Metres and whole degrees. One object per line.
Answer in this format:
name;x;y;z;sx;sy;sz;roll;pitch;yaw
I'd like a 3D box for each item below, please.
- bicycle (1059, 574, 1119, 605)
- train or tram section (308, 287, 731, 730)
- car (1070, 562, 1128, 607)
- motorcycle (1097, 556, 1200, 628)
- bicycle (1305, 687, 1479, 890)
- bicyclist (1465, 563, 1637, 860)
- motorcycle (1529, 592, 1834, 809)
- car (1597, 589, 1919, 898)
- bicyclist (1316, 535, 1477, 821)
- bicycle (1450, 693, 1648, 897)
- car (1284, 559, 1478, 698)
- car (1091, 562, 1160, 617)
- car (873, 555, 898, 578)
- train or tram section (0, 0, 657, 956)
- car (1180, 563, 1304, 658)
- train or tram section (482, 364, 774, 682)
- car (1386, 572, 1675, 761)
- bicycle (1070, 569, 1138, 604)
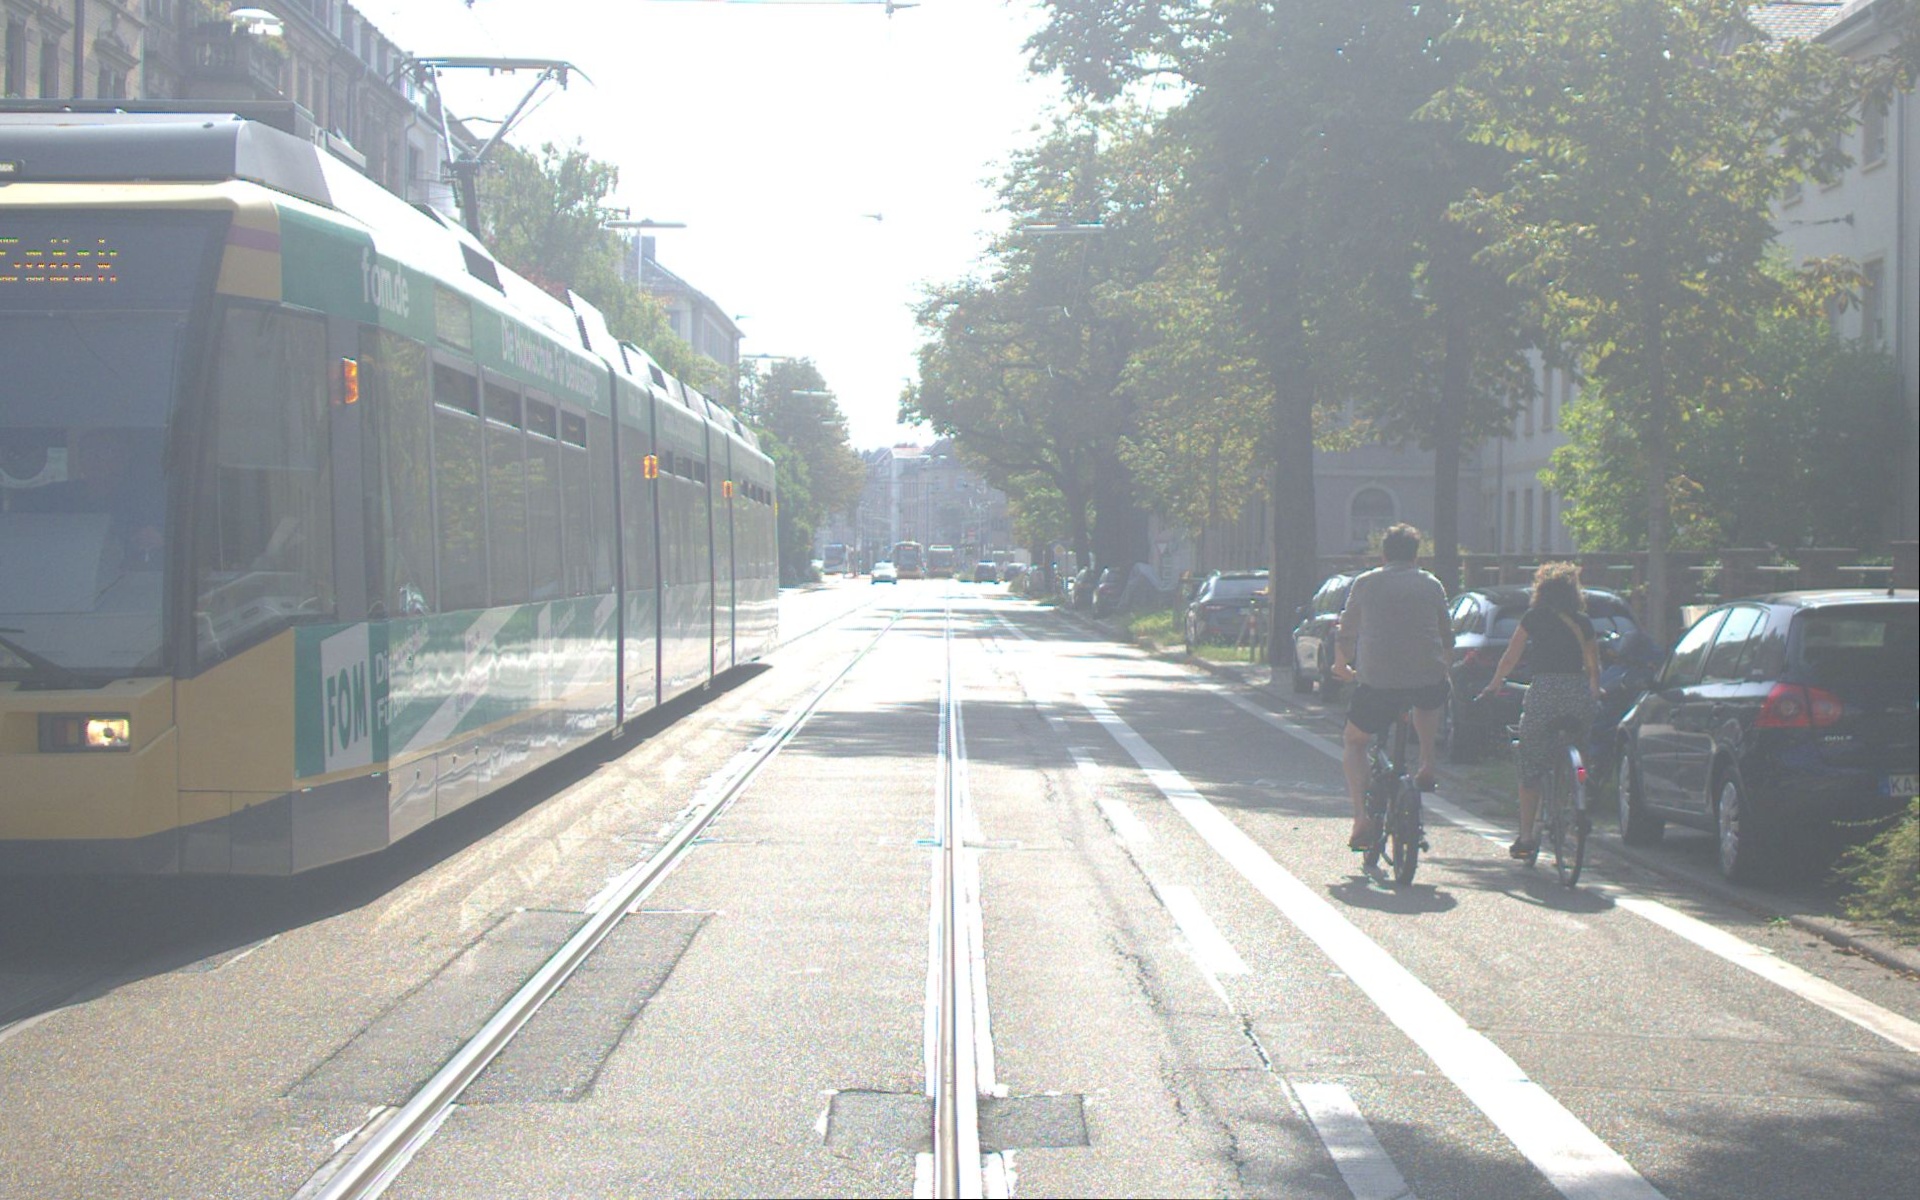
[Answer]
bicycle;4.673;-0.381;124.704;2.106;1.101;0.616;-1;0;-1
train or tram section;-3.899;-0.807;33.000;2.734;3.493;10.776;1;1;-1
car;4.605;-0.491;114.224;1.772;1.468;3.974;0;0;0
motorcycle;4.448;-0.196;81.369;2.418;1.668;0.911;0;1;44
bicycle;2.189;0.942;17.568;0.626;0.906;1.525;3;1;-1
bicyclist;3.048;0.556;17.800;0.654;1.469;0.909;3;0;-1
motorcycle;4.824;0.663;23.031;1.854;1.285;0.705;-3;6;-3
car;4.694;0.688;18.729;1.645;1.443;4.246;-1;1;0
bicyclist;2.220;0.385;17.573;0.626;1.396;0.929;3;0;-1
bicycle;3.031;0.986;17.844;0.654;0.906;1.775;3;1;-1
car;4.841;0.305;40.007;1.689;1.497;4.096;-1;0;-1
car;4.649;-0.301;97.198;1.726;1.499;3.984;-1;0;0
car;-5.393;-2.422;249.229;1.726;1.632;3.985;1;1;0
train or tram section;-3.740;-0.622;19.907;2.734;3.493;15.434;1;1;-1
car;4.776;0.146;58.718;1.743;1.555;4.719;0;0;0
train or tram section;-3.997;-0.934;43.760;2.734;3.493;10.776;1;1;-1
car;4.840;0.513;29.725;1.689;1.430;4.337;-2;1;-1
bicycle;4.622;-0.435;110.568;2.106;1.101;0.563;1;0;-7
